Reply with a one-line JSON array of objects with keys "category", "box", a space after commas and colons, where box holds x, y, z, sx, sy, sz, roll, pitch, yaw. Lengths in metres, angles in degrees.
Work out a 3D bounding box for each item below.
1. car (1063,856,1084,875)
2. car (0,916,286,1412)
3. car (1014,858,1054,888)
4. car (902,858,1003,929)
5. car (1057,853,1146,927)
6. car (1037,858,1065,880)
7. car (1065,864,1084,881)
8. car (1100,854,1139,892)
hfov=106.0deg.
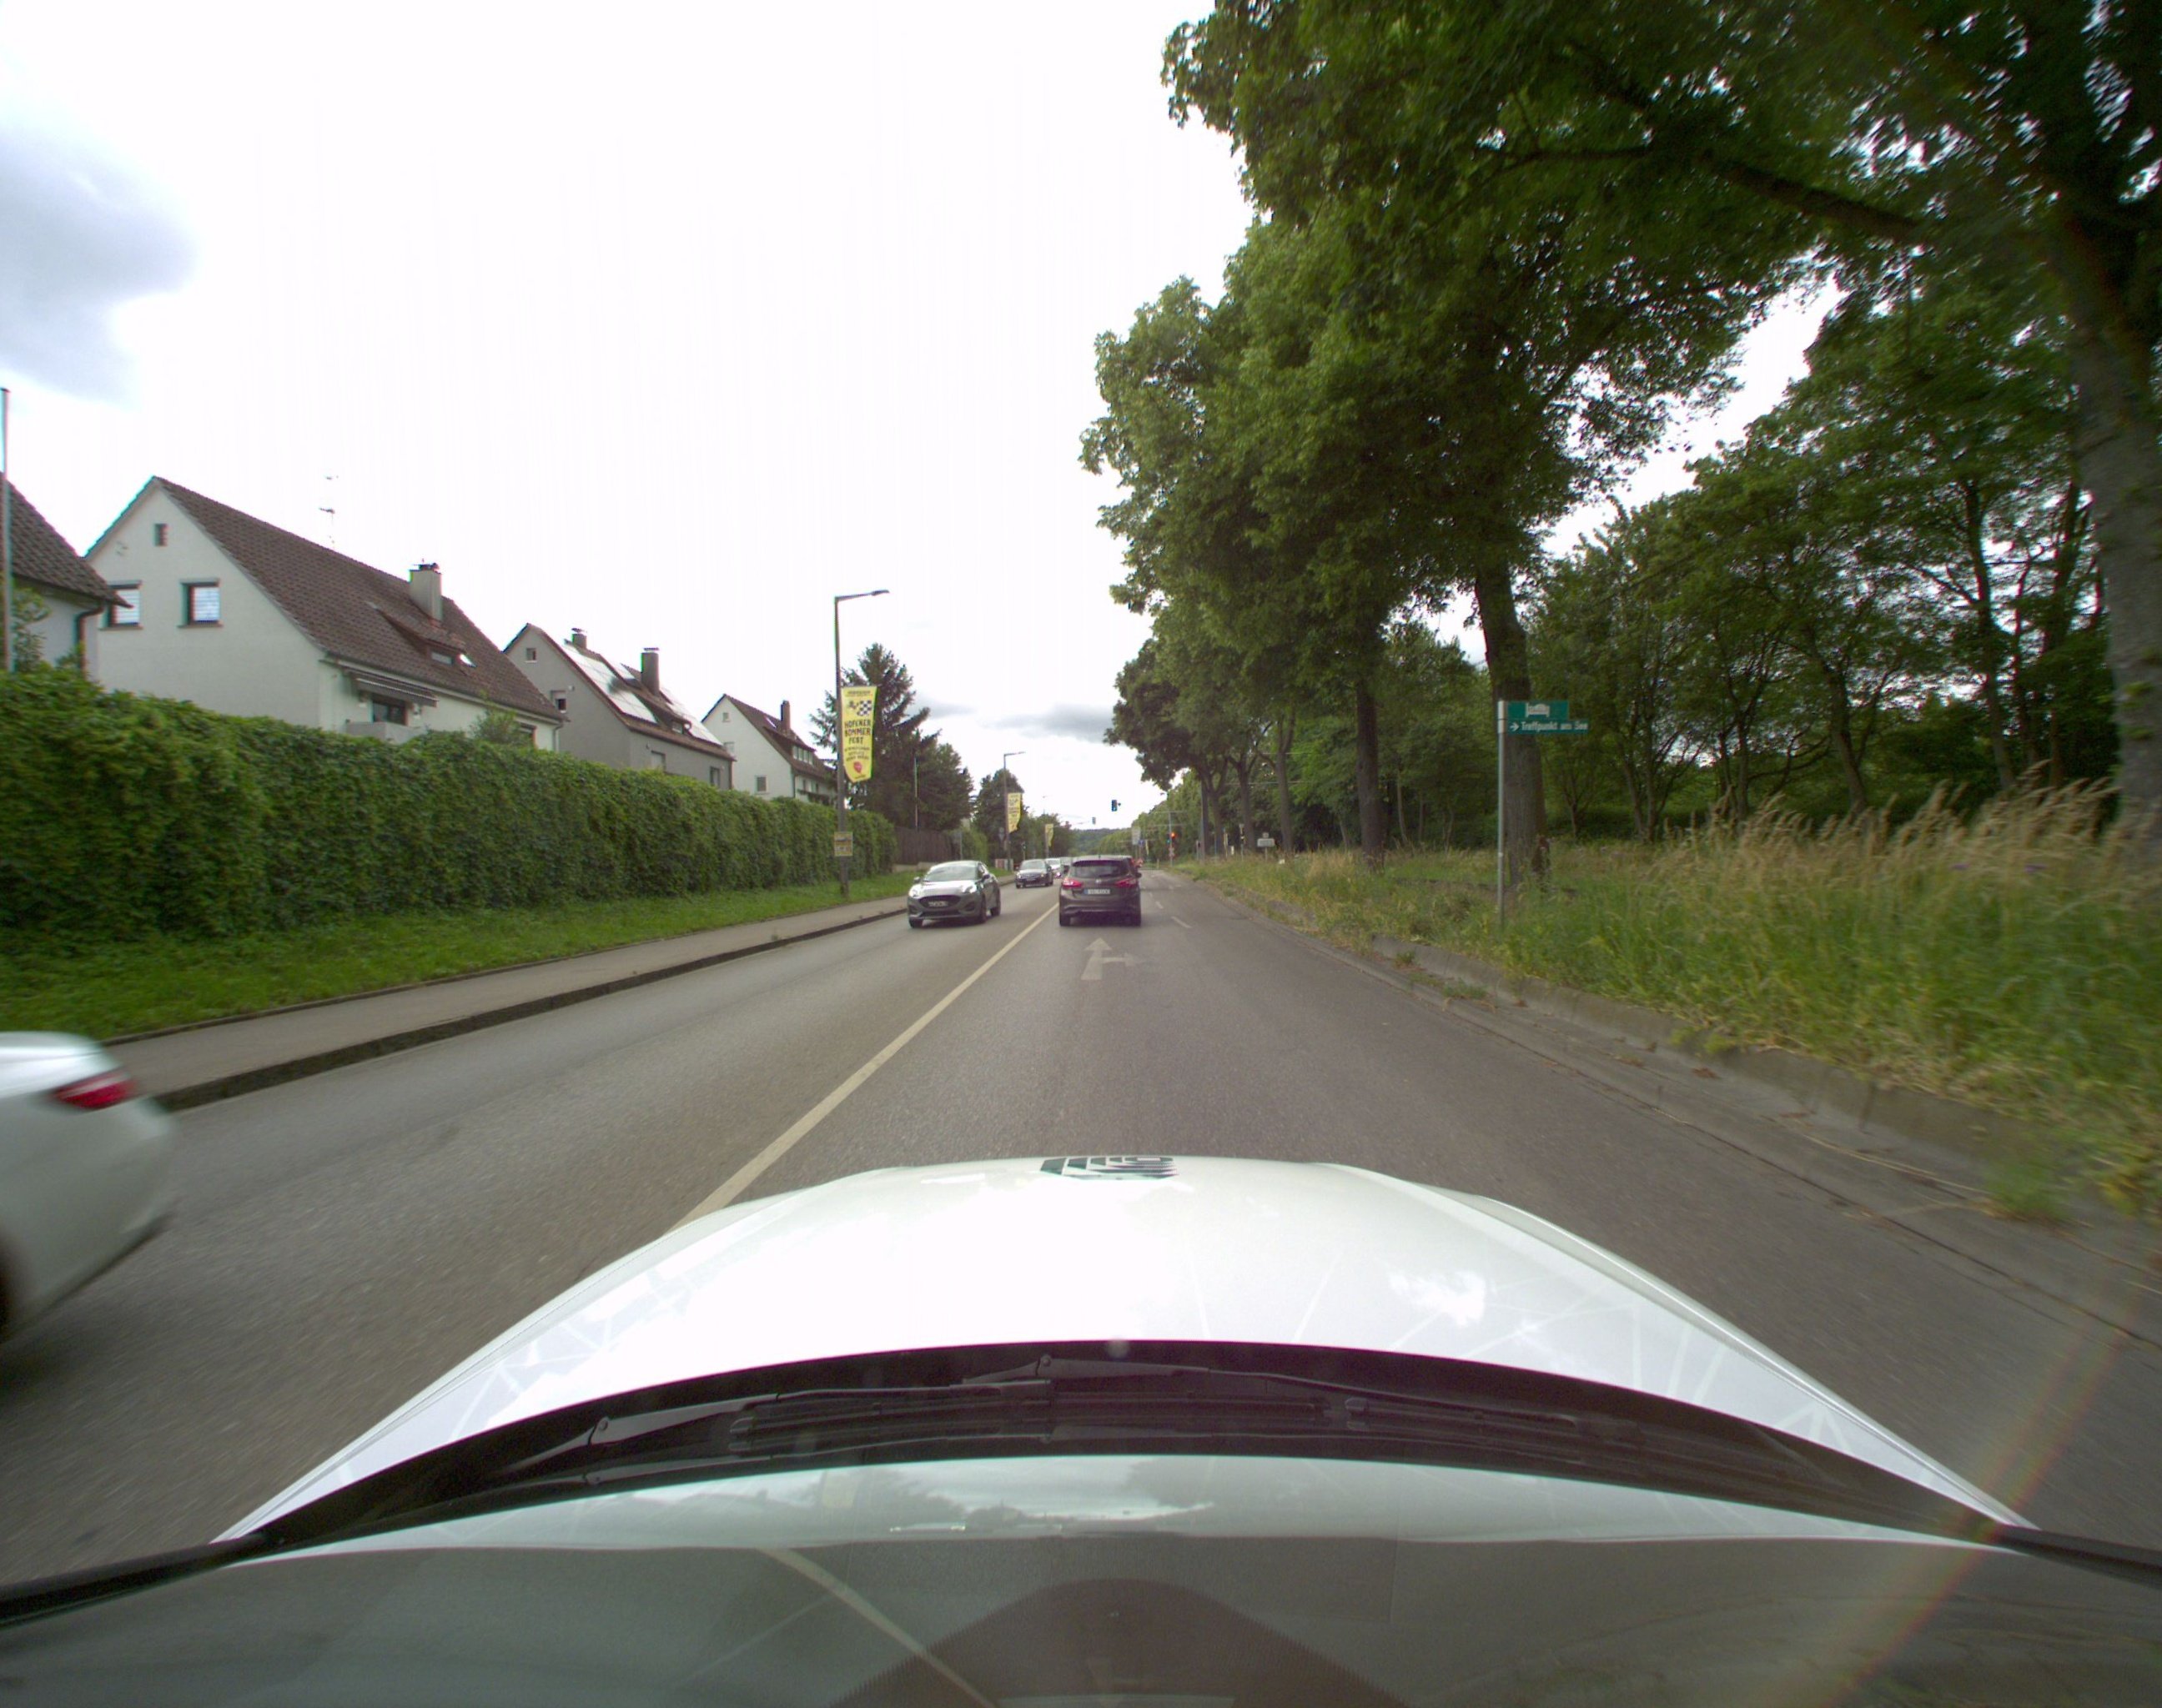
[{"category": "car", "box": [-0.626, 0.967, 71.344, 1.637, 1.481, 4.108, -4, 0, 1]}, {"category": "car", "box": [-4.167, 0.986, 0.967, 1.879, 1.383, 4.492, -3, 0, 2]}, {"category": "car", "box": [-2.501, 0.990, 44.232, 1.721, 1.464, 4.155, -3, 0, 2]}, {"category": "car", "box": [-3.140, 0.919, 20.682, 1.745, 1.518, 4.001, -4, 0, 1]}, {"category": "car", "box": [0.533, 0.741, 19.039, 1.828, 1.519, 4.486, 0, 0, 3]}, {"category": "car", "box": [-2.234, 1.104, 61.283, 1.611, 1.461, 4.075, -5, 0, 3]}, {"category": "car", "box": [-0.693, 1.907, 85.570, 1.806, 1.524, 4.177, -4, 0, 1]}, {"category": "car", "box": [1.631, 0.758, 34.690, 1.532, 1.478, 3.766, -1, 0, 3]}]
